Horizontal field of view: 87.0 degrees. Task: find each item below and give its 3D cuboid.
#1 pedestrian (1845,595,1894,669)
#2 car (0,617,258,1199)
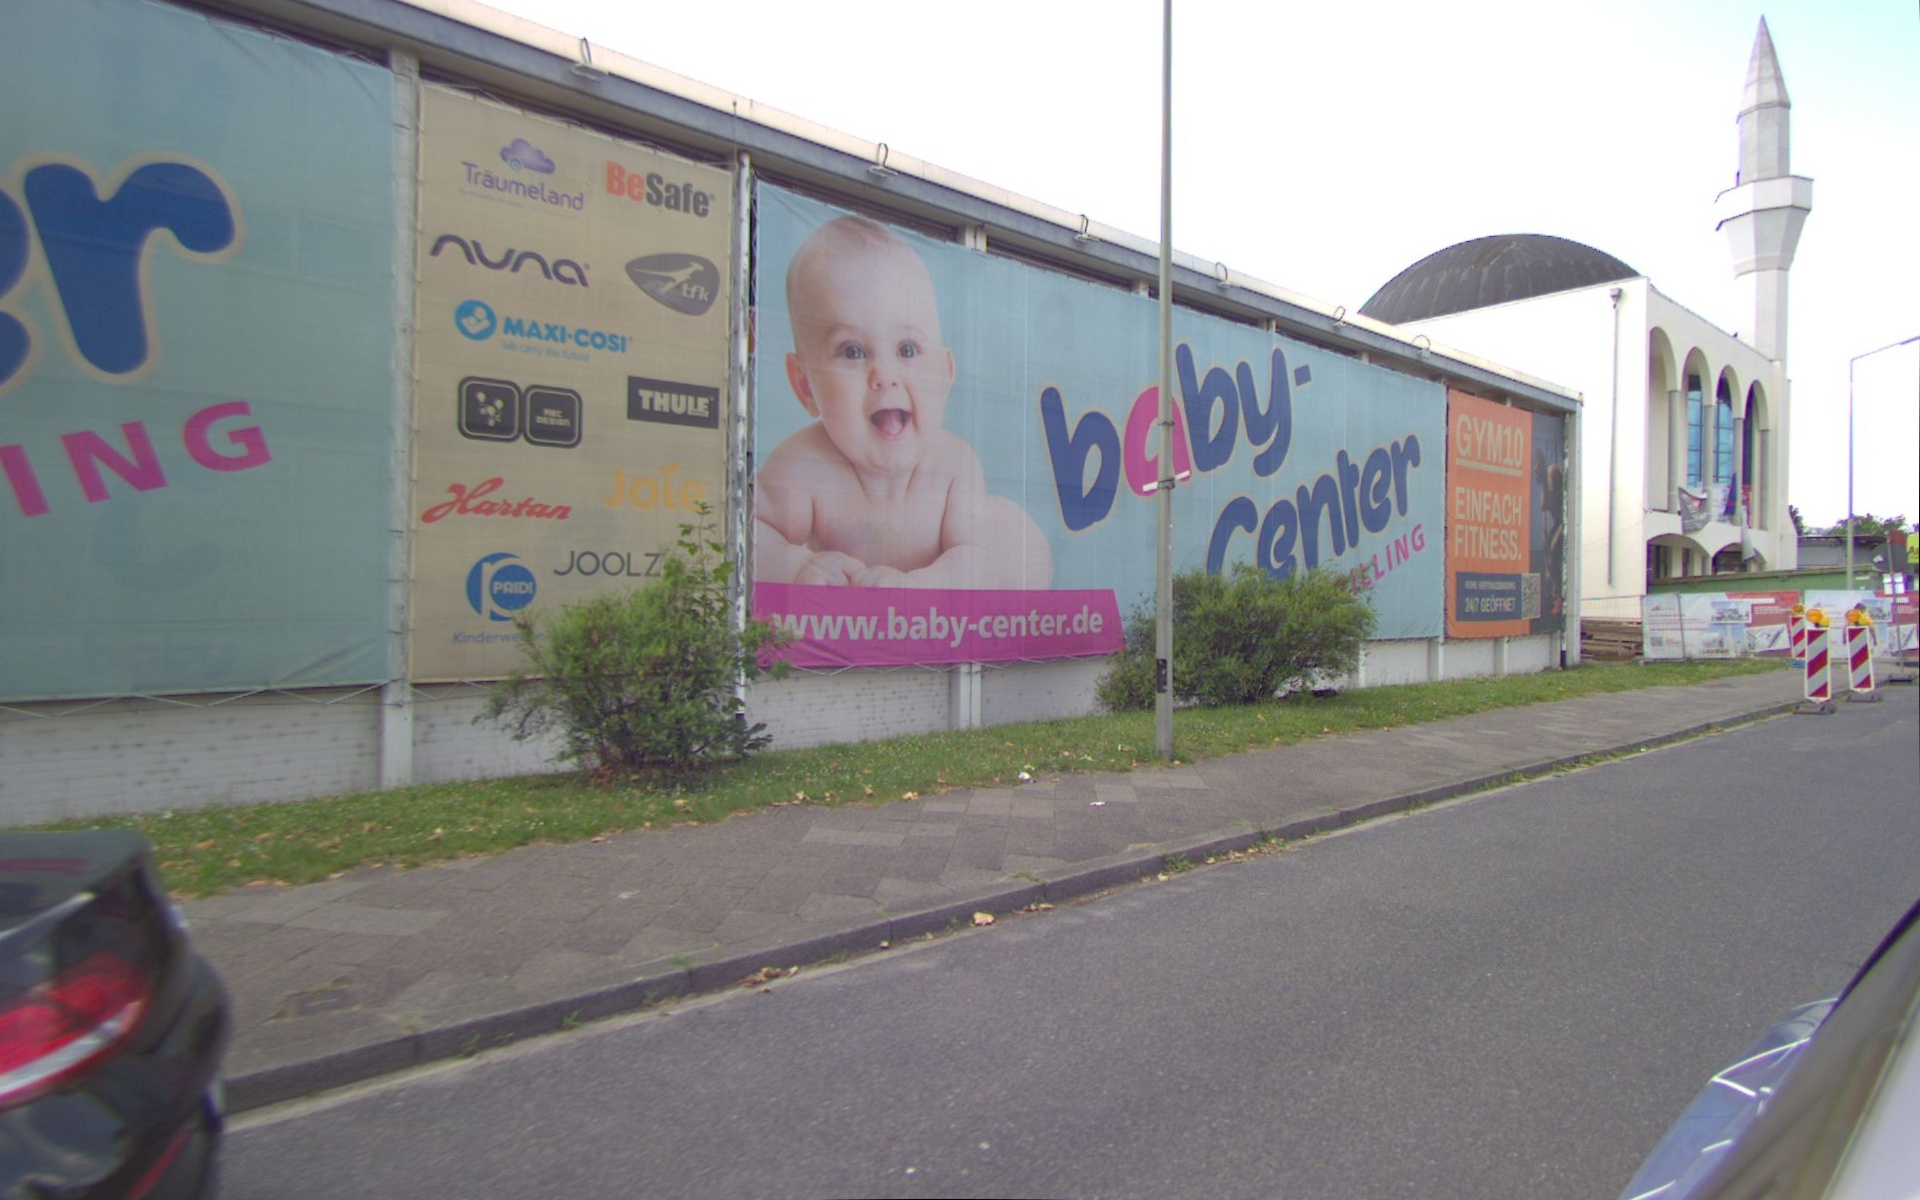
[{"bbox_3d":[20.020,0.682,22.263,1.111,1.553,0.682,0,0,-42],"label":"pedestrian"},{"bbox_3d":[-3.296,0.751,0.736,4.503,1.409,1.812,0,-2,-38],"label":"car"}]
